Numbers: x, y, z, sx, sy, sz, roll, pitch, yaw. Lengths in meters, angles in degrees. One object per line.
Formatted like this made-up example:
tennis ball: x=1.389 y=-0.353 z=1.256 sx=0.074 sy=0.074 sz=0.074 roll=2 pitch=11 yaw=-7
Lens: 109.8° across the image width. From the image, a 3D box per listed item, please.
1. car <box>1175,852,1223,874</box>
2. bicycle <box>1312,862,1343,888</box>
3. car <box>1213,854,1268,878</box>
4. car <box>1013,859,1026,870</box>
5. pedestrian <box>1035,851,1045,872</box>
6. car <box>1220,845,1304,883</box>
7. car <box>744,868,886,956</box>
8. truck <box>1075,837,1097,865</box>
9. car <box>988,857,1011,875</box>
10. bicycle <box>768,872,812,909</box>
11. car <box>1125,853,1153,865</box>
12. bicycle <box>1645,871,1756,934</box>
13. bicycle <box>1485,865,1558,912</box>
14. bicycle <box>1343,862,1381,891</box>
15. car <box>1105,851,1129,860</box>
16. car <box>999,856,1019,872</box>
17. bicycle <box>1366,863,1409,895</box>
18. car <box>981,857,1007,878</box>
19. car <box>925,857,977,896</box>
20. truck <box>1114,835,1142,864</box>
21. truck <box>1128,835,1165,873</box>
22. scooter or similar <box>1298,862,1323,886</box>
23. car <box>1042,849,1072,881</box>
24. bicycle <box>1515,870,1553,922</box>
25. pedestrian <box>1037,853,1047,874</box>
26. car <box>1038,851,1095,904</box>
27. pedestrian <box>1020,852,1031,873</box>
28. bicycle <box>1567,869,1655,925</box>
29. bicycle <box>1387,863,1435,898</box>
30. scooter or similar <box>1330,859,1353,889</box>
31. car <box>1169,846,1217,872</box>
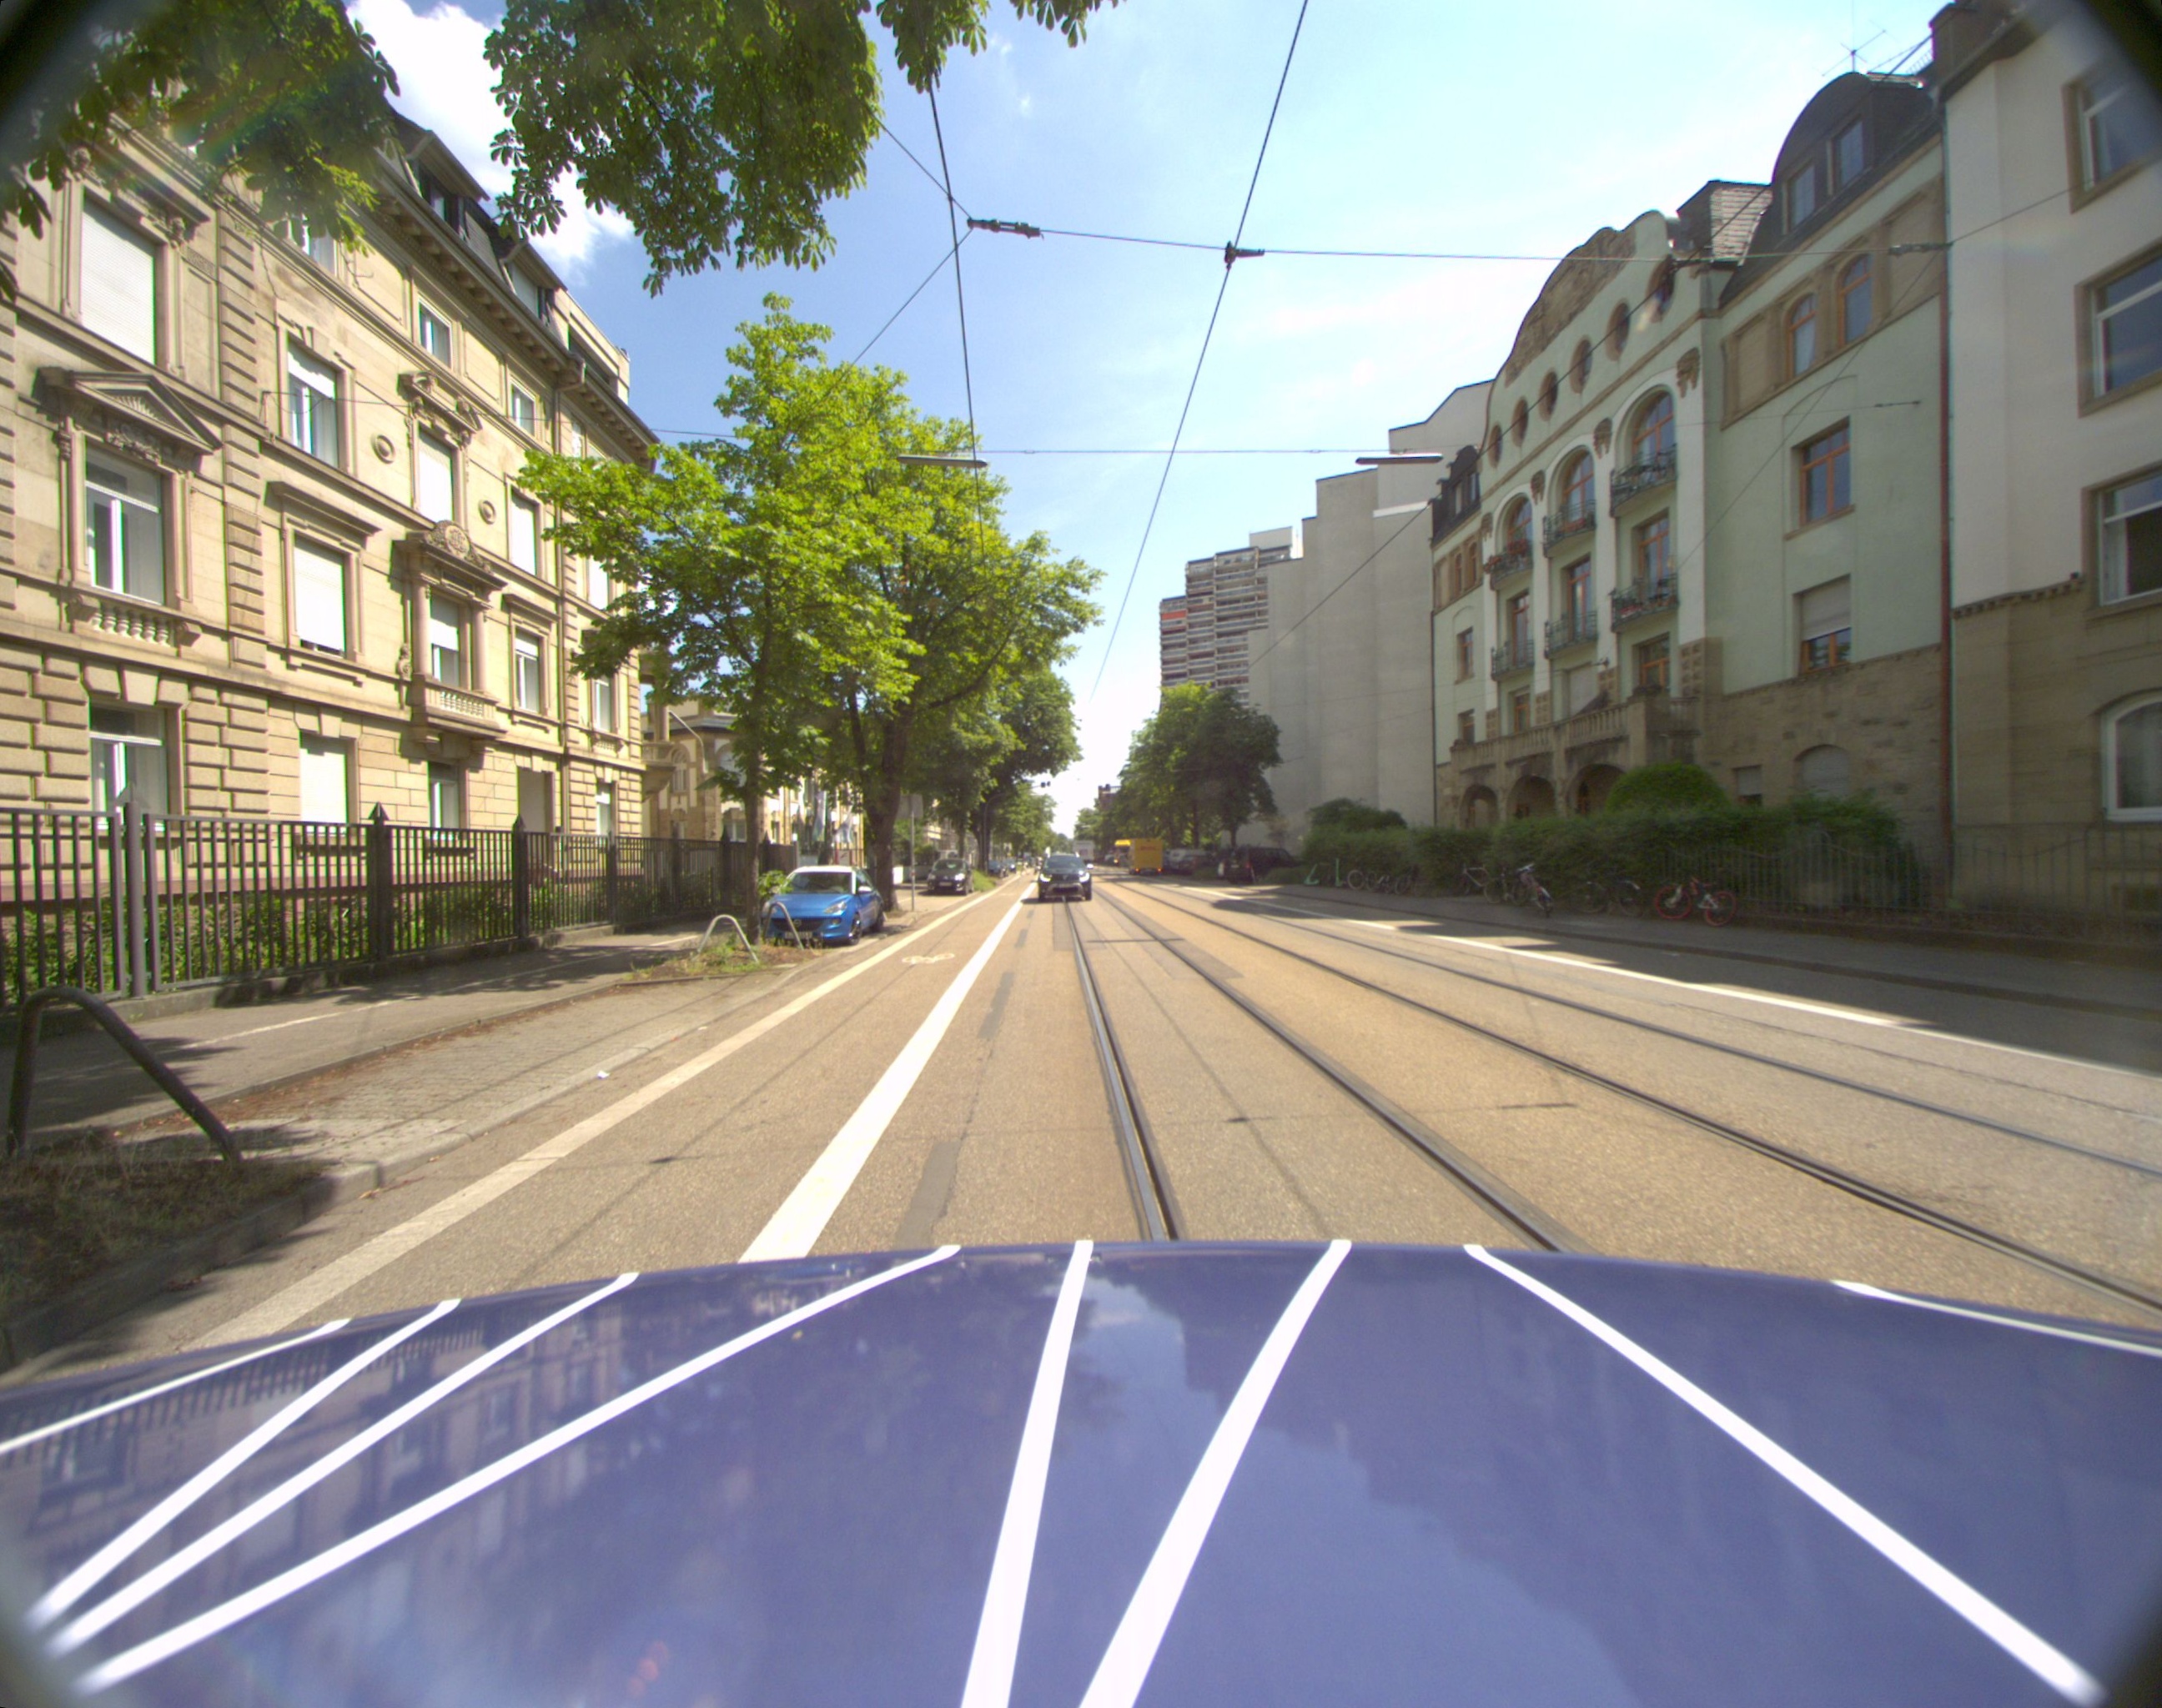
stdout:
car: x=8.893 y=0.644 z=56.889 sx=3.692 sy=1.566 sz=1.678 roll=-1 pitch=1 yaw=-44
bicycle: x=10.069 y=0.838 z=31.087 sx=0.609 sy=0.983 sz=1.707 roll=-5 pitch=0 yaw=-2
car: x=9.987 y=0.728 z=47.378 sx=1.721 sy=1.445 sz=3.635 roll=-1 pitch=0 yaw=42
car: x=-8.820 y=1.507 z=109.336 sx=1.626 sy=1.395 sz=3.999 roll=1 pitch=0 yaw=-2
pedestrian: x=-3.630 y=0.640 z=66.593 sx=0.645 sy=1.839 sz=0.741 roll=-1 pitch=1 yaw=15
car: x=9.738 y=0.517 z=40.786 sx=4.595 sy=1.914 sz=1.957 roll=-1 pitch=0 yaw=-39
car: x=-5.073 y=1.046 z=14.981 sx=1.696 sy=1.444 sz=3.473 roll=-1 pitch=0 yaw=-3
truck: x=0.642 y=-0.356 z=101.849 sx=2.792 sy=3.598 sz=8.255 roll=-1 pitch=0 yaw=0
car: x=-6.680 y=0.988 z=62.665 sx=1.626 sy=1.395 sz=3.999 roll=1 pitch=0 yaw=-2
bicycle: x=-9.172 y=1.124 z=24.028 sx=0.609 sy=1.065 sz=1.980 roll=-1 pitch=0 yaw=0
car: x=7.425 y=0.678 z=96.566 sx=1.678 sy=1.445 sz=3.682 roll=-1 pitch=0 yaw=42
bicycle: x=10.755 y=0.813 z=13.266 sx=0.414 sy=0.960 sz=1.725 roll=-4 pitch=0 yaw=-2
bicycle: x=10.618 y=0.803 z=18.398 sx=0.609 sy=1.026 sz=1.771 roll=-5 pitch=0 yaw=-2
bicycle: x=10.227 y=0.804 z=27.677 sx=0.609 sy=0.983 sz=1.707 roll=-5 pitch=0 yaw=-2
car: x=6.873 y=0.305 z=145.755 sx=4.338 sy=1.797 sz=1.995 roll=-1 pitch=0 yaw=-34
car: x=-6.970 y=0.961 z=74.010 sx=1.626 sy=1.395 sz=3.999 roll=1 pitch=0 yaw=-2
bicycle: x=10.265 y=0.826 z=25.498 sx=0.609 sy=0.983 sz=1.707 roll=-5 pitch=0 yaw=-2
car: x=-6.375 y=0.967 z=55.981 sx=1.626 sy=1.395 sz=3.822 roll=1 pitch=0 yaw=-2
car: x=-5.713 y=0.959 z=33.833 sx=1.734 sy=1.606 sz=4.083 roll=1 pitch=0 yaw=-2
truck: x=7.235 y=-0.718 z=115.707 sx=2.672 sy=4.155 sz=10.482 roll=-1 pitch=0 yaw=12
truck: x=5.180 y=0.004 z=60.909 sx=2.307 sy=2.903 sz=6.514 roll=-1 pitch=0 yaw=-1
scooter or similar: x=9.929 y=0.854 z=32.906 sx=0.407 sy=1.014 sz=1.222 roll=-1 pitch=0 yaw=-18
car: x=-1.498 y=0.656 z=48.296 sx=1.753 sy=1.806 sz=4.307 roll=-3 pitch=0 yaw=-1
bicycle: x=9.600 y=0.866 z=16.083 sx=0.608 sy=0.993 sz=1.778 roll=0 pitch=0 yaw=34
pedestrian: x=-3.470 y=0.826 z=67.444 sx=0.645 sy=1.839 sz=0.741 roll=-1 pitch=1 yaw=18
car: x=-0.547 y=0.768 z=26.760 sx=1.753 sy=1.641 sz=4.297 roll=-2 pitch=0 yaw=-2
pedestrian: x=-4.878 y=0.723 z=66.817 sx=0.645 sy=1.839 sz=0.741 roll=-1 pitch=1 yaw=24
bicycle: x=10.517 y=0.827 z=15.142 sx=0.465 sy=0.993 sz=1.707 roll=-4 pitch=0 yaw=-2
bicycle: x=10.236 y=0.811 z=23.636 sx=0.609 sy=0.970 sz=1.771 roll=-5 pitch=0 yaw=-2
scooter or similar: x=10.102 y=0.779 z=29.509 sx=0.407 sy=1.113 sz=1.291 roll=-1 pitch=0 yaw=0
car: x=8.930 y=0.367 z=60.413 sx=4.061 sy=2.030 sz=1.598 roll=-1 pitch=0 yaw=-42
